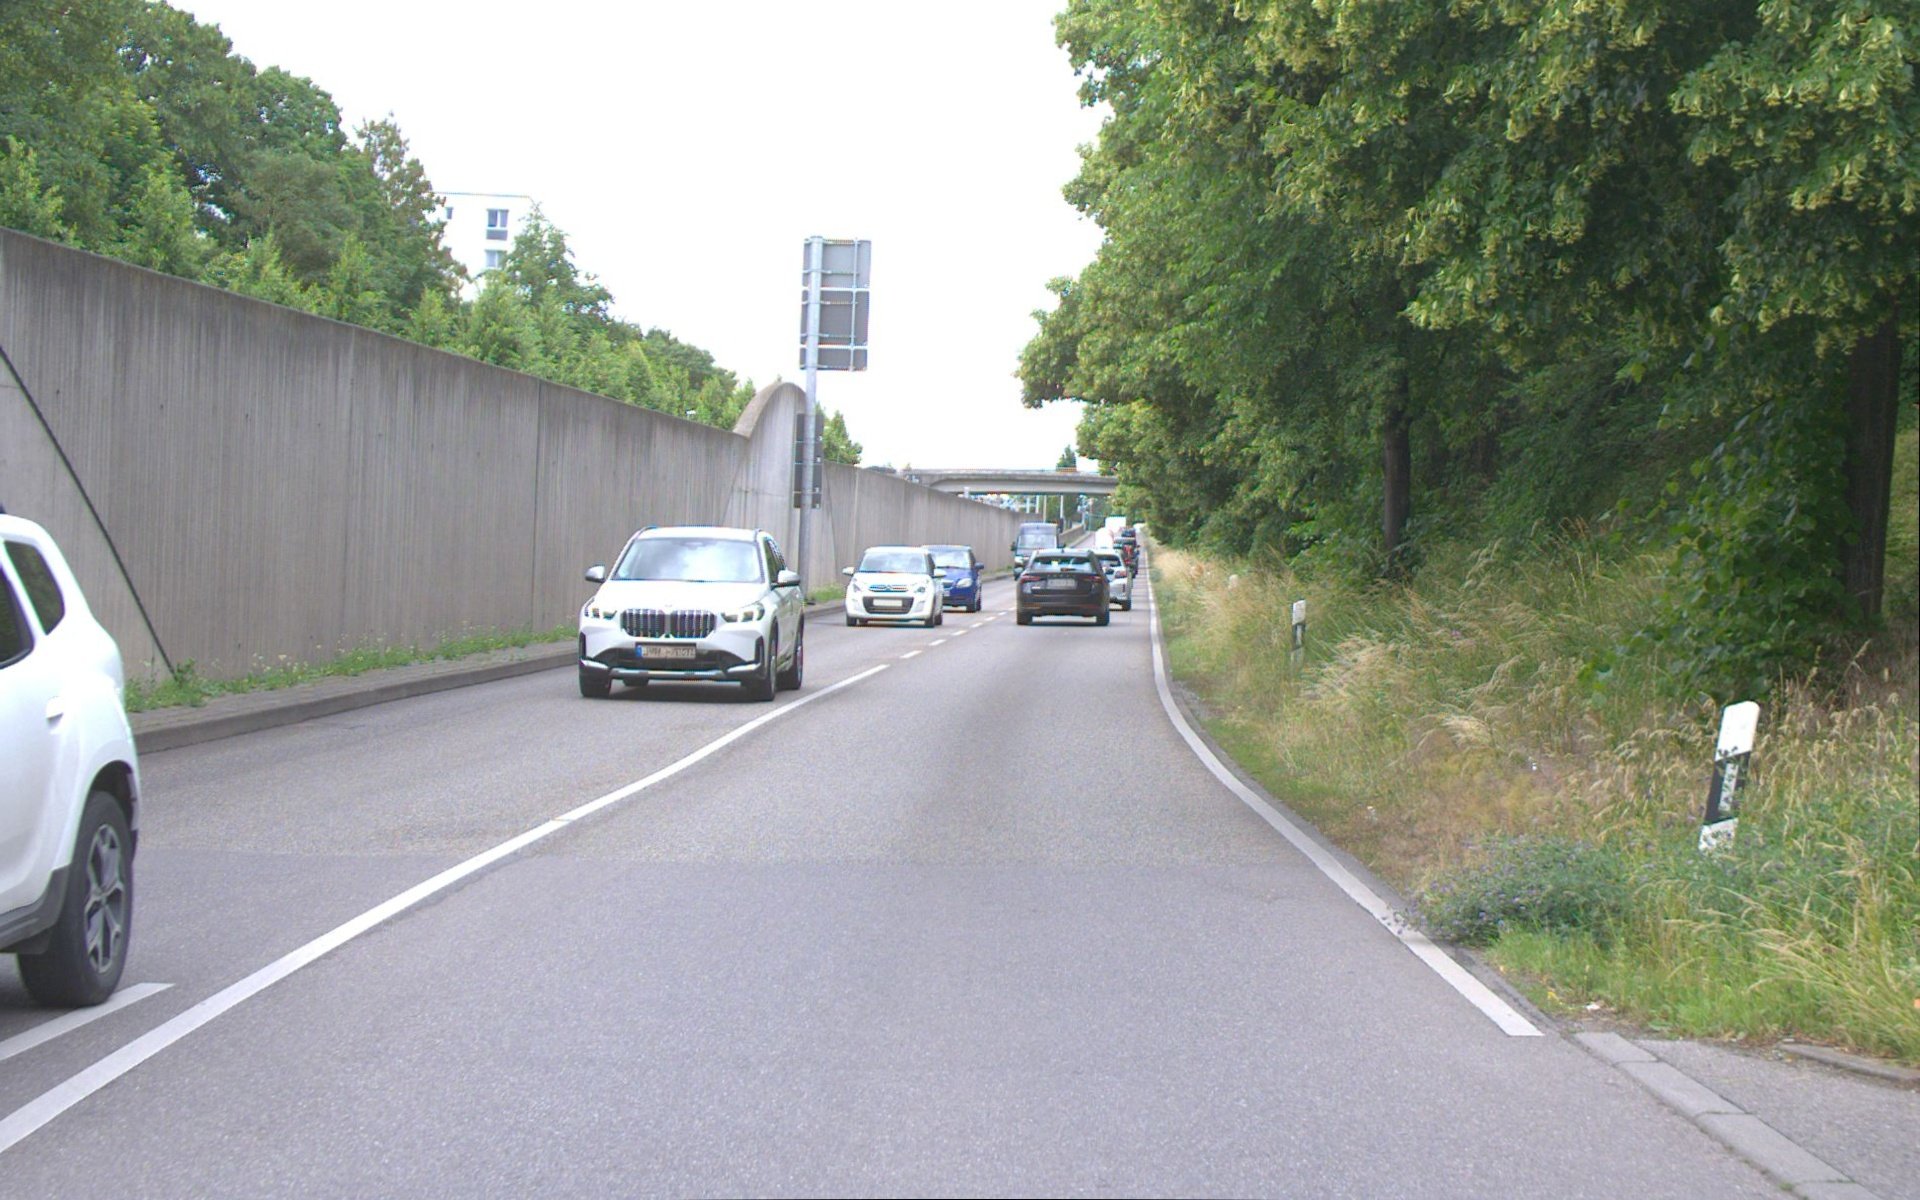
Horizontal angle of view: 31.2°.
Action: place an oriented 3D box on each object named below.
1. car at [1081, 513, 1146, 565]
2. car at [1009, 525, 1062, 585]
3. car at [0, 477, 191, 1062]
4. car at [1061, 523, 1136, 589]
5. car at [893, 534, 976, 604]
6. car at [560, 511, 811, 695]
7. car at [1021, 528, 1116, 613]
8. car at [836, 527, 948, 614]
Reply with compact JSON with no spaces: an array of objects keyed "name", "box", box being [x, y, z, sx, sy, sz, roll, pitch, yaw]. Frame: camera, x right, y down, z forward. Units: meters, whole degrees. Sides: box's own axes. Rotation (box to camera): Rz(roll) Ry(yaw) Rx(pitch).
[{"name":"car","box":[4.811,-1.920,108.293,1.867,1.485,4.257,4,1,1]},{"name":"car","box":[3.462,-2.075,156.588,2.110,2.621,7.416,1,1,3]},{"name":"car","box":[-3.578,0.444,9.557,1.862,1.626,4.208,2,1,1]},{"name":"car","box":[3.356,-1.065,83.932,1.754,1.518,4.036,0,0,2]},{"name":"car","box":[-0.558,-0.725,78.825,1.767,1.490,4.208,2,1,1]},{"name":"car","box":[-2.612,-0.022,33.681,1.890,1.626,4.426,2,1,2]},{"name":"car","box":[2.103,-0.553,66.856,1.754,1.518,4.036,1,-1,2]},{"name":"car","box":[-1.235,-0.576,63.994,1.915,1.490,4.208,2,1,1]}]
